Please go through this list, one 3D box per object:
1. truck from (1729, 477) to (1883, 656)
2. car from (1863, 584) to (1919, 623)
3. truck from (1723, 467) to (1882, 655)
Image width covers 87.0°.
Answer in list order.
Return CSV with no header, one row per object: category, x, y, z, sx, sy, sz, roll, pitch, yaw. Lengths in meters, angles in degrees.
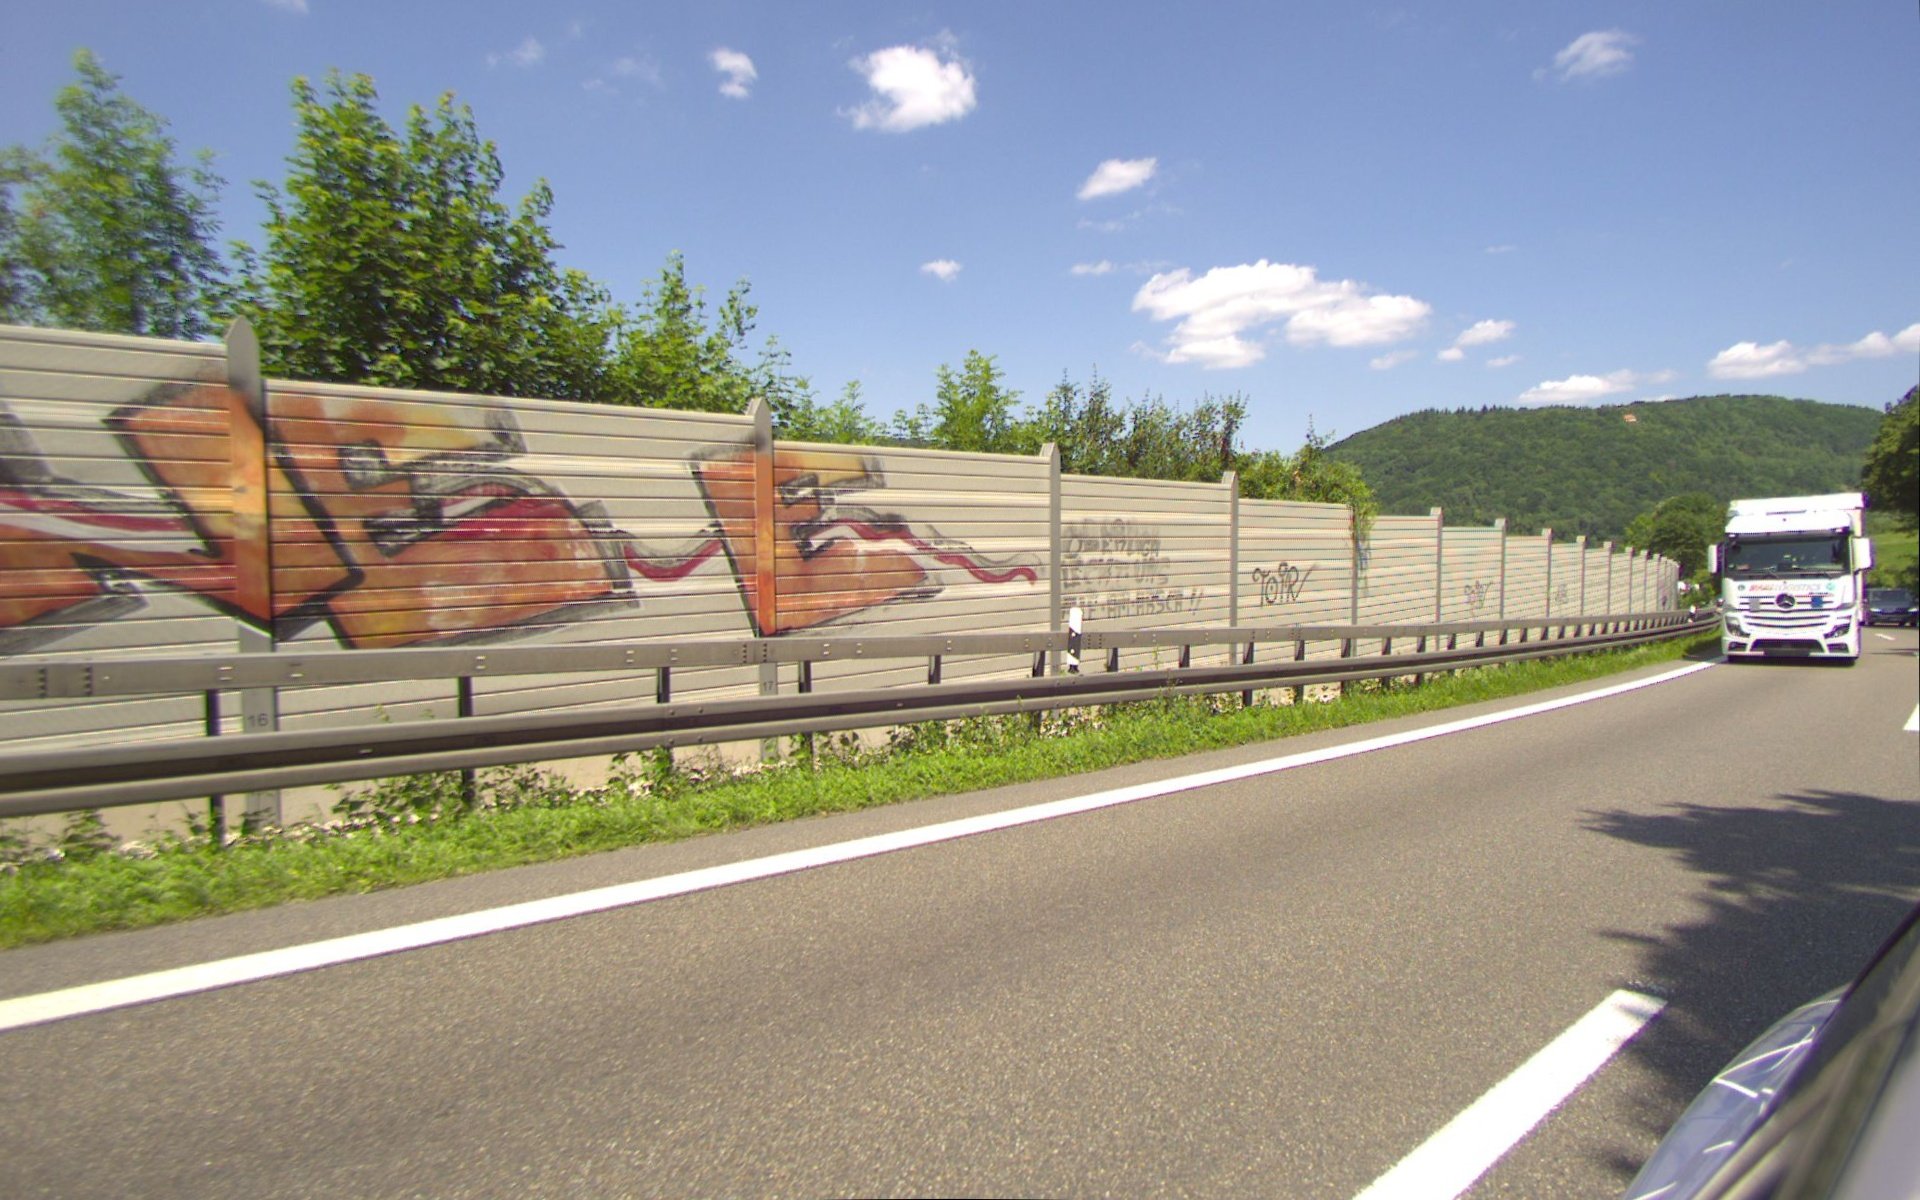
truck,24.486,-0.822,29.134,2.852,4.200,11.866,0,0,42
car,47.507,0.158,51.533,2.035,1.889,3.944,1,0,39
truck,21.269,-0.864,25.516,2.755,4.090,6.721,0,0,41
